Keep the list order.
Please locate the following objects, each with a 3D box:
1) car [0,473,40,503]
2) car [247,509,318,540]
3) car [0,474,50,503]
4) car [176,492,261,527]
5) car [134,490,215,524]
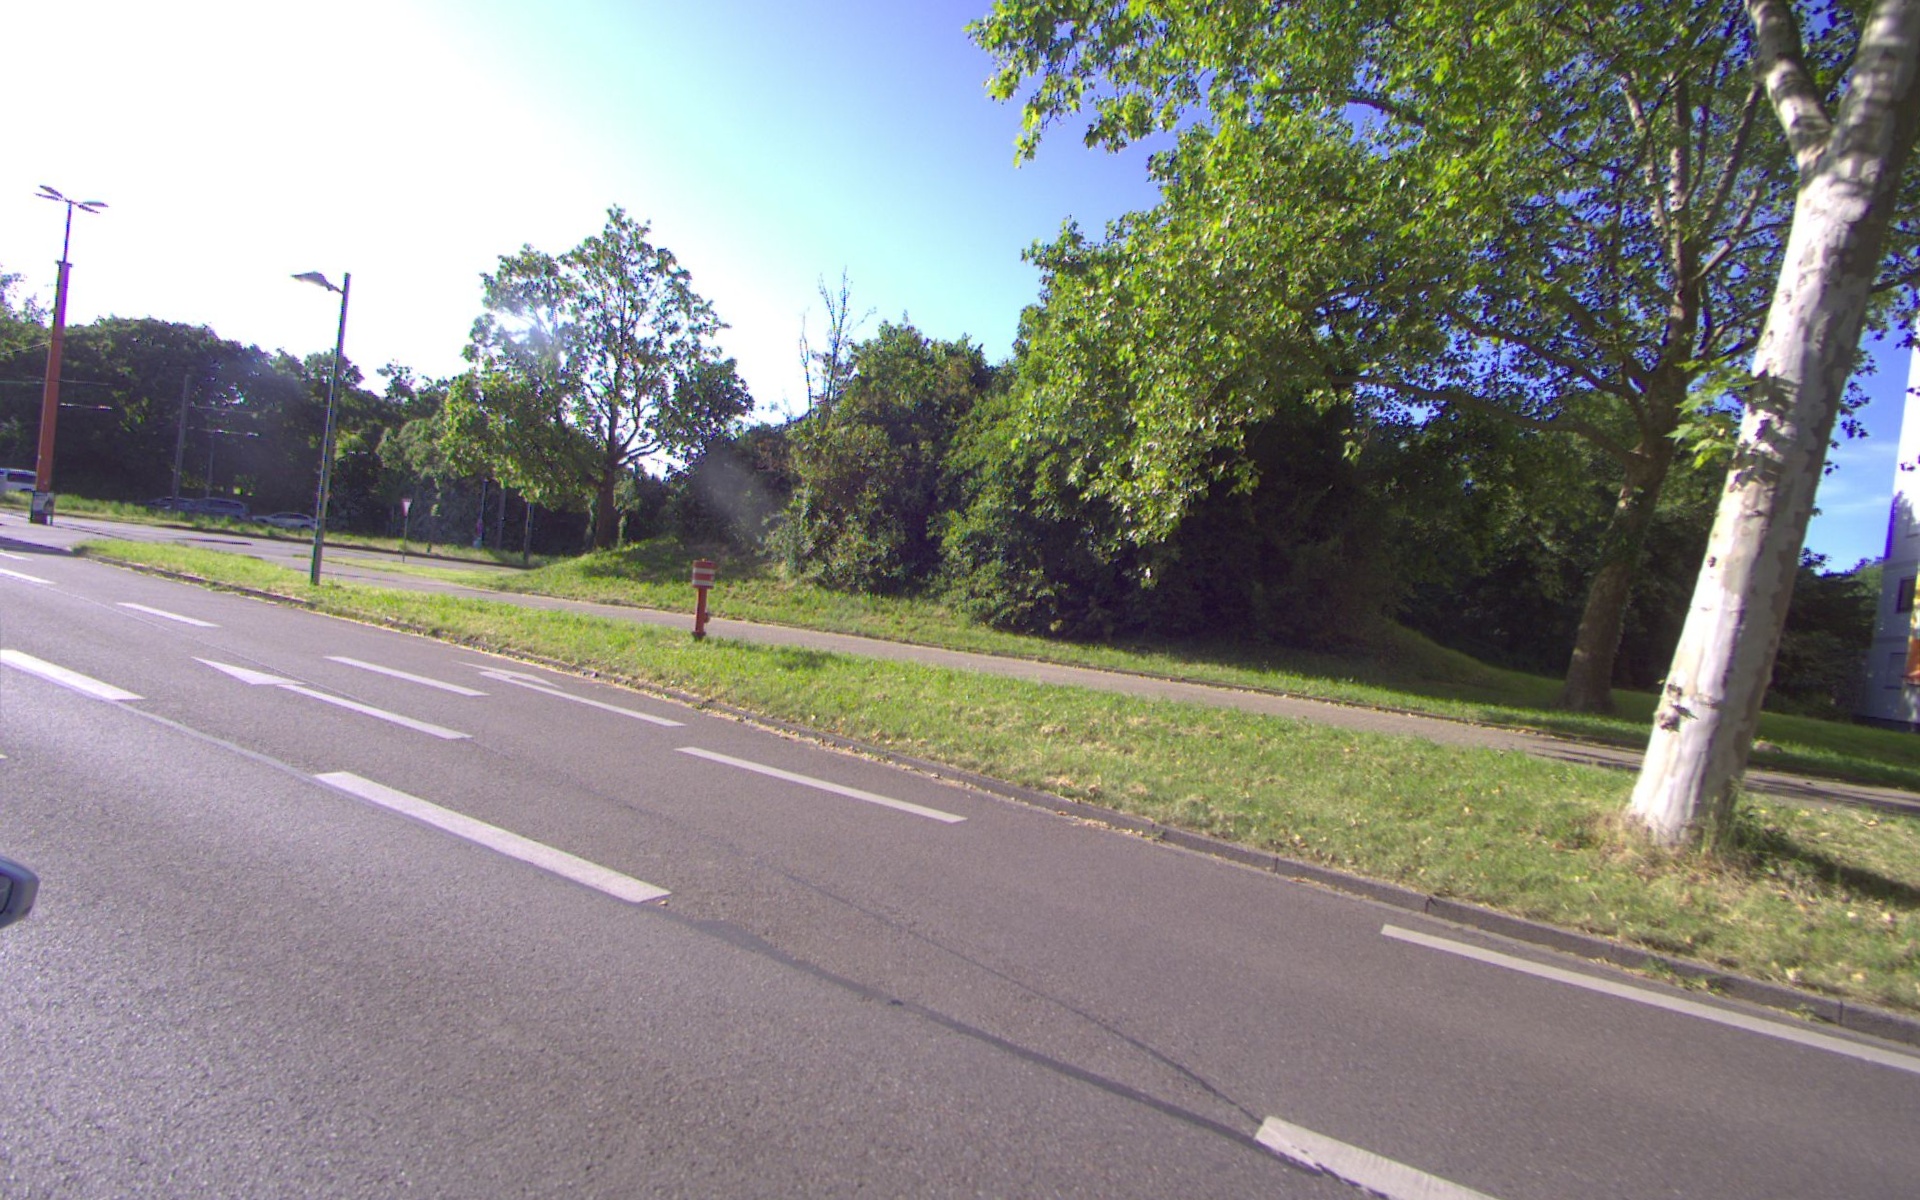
[{"bbox_3d":[-60.023,-7.165,62.452,3.963,1.493,1.773,8,-1,-34],"label":"car"},{"bbox_3d":[-47.380,-5.284,70.480,3.962,1.513,1.845,8,-1,-33],"label":"car"},{"bbox_3d":[-57.476,-6.839,60.311,3.962,1.353,1.714,8,-1,-34],"label":"car"},{"bbox_3d":[-48.611,-5.908,66.066,4.326,1.577,1.855,8,-1,-35],"label":"car"},{"bbox_3d":[-52.357,-6.171,67.158,3.962,1.579,1.883,8,-1,-33],"label":"car"}]
